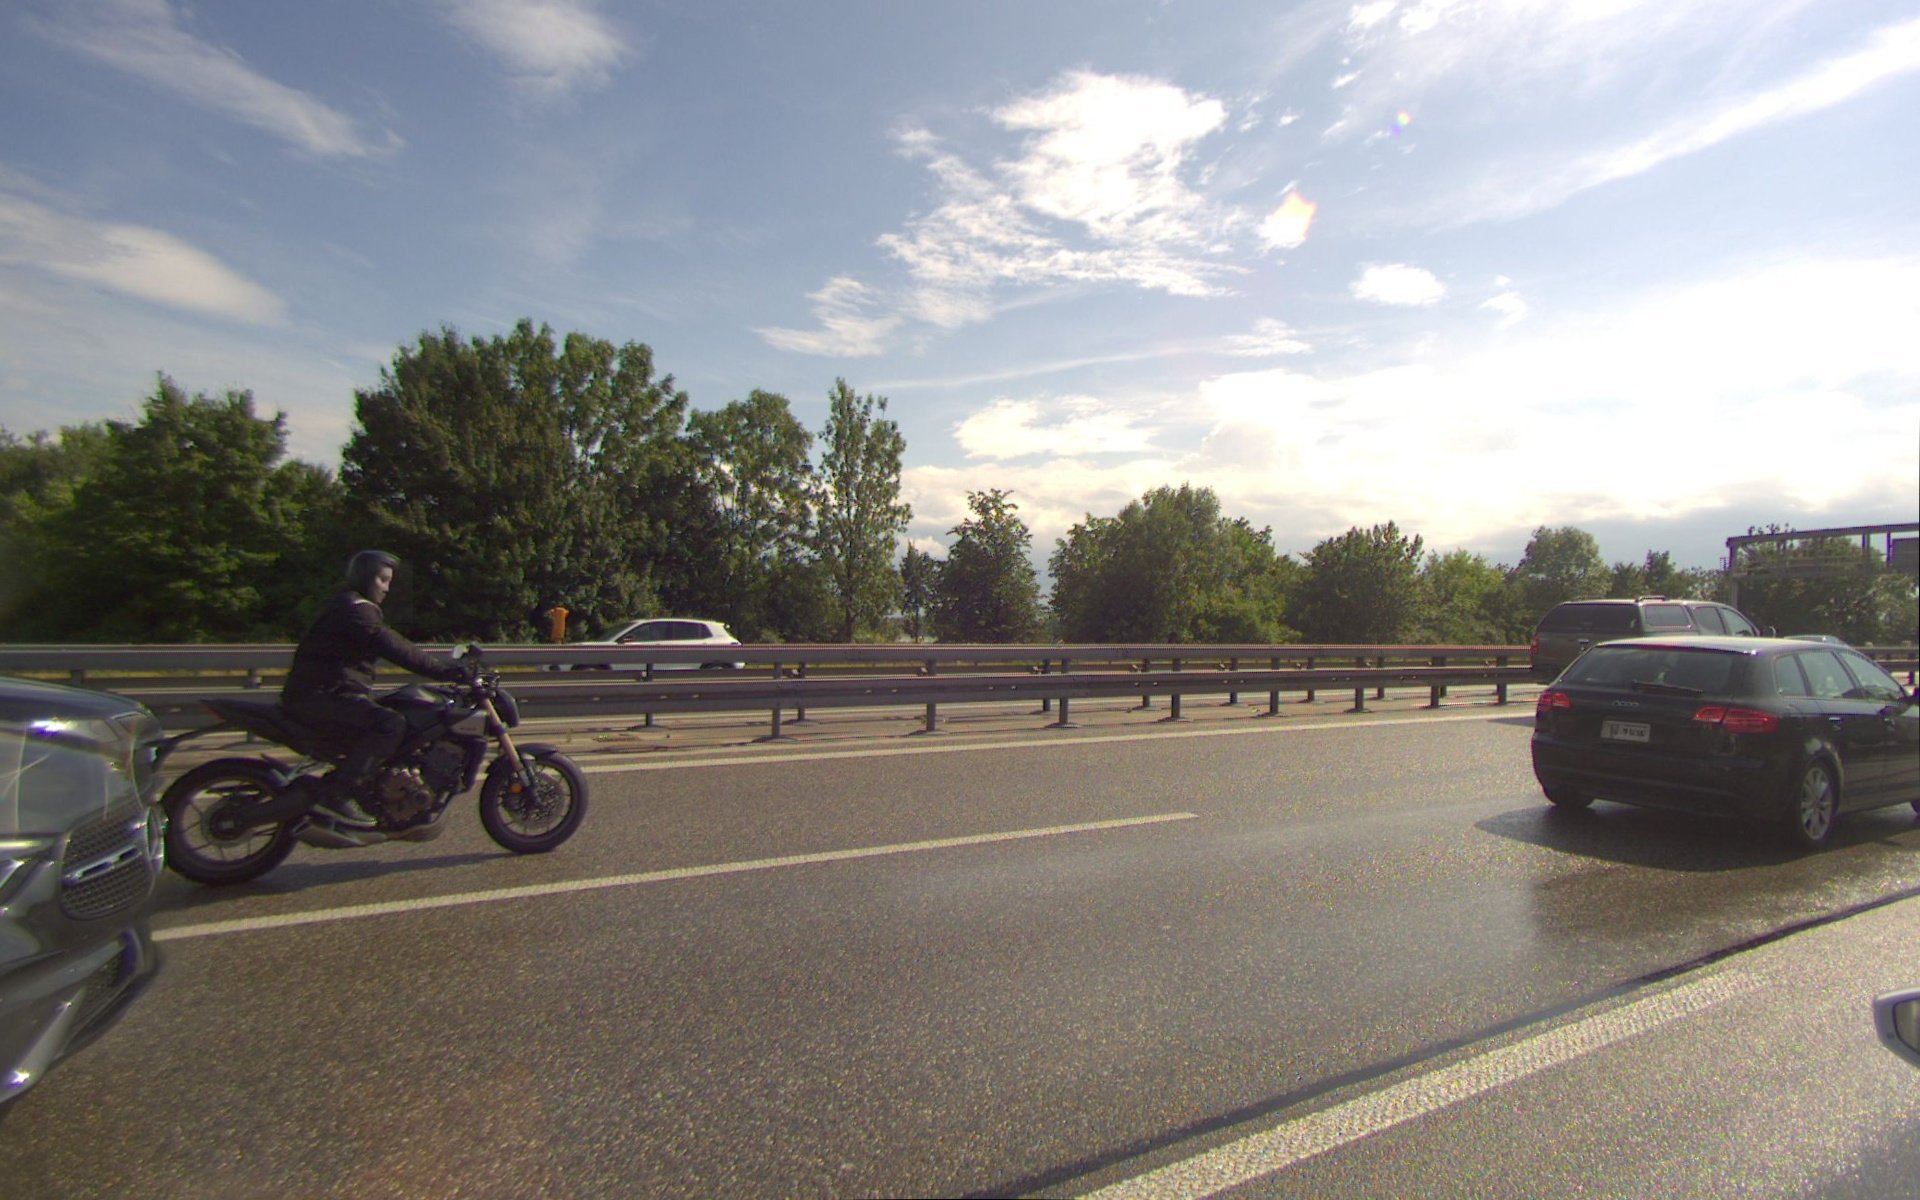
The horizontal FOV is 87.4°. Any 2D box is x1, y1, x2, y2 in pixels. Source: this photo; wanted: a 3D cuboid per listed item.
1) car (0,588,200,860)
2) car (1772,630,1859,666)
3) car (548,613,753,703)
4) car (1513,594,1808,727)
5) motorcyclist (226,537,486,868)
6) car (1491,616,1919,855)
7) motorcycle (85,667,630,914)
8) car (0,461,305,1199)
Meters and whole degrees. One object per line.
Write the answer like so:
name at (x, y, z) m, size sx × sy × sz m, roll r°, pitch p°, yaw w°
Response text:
car at (-6.958, 0.619, 5.384) m, size 4.319 × 1.444 × 1.912 m, roll 2°, pitch -1°, yaw -29°
car at (32.750, 1.817, 38.437) m, size 3.368 × 1.283 × 1.503 m, roll 2°, pitch 0°, yaw -31°
car at (-6.401, 1.155, 20.853) m, size 3.768 × 1.672 × 1.724 m, roll 1°, pitch 0°, yaw -32°
car at (11.374, 0.904, 16.184) m, size 5.354 × 1.869 × 1.798 m, roll 1°, pitch 0°, yaw -30°
motorcyclist at (-3.167, 0.493, 5.339) m, size 1.080 × 1.558 × 0.792 m, roll 1°, pitch 0°, yaw -31°
car at (6.275, 0.898, 8.010) m, size 4.006 × 1.452 × 1.742 m, roll 1°, pitch 0°, yaw -30°
motorcycle at (-3.074, 0.913, 5.414) m, size 2.361 × 1.041 × 0.687 m, roll 1°, pitch 0°, yaw -31°
car at (-4.066, 0.520, 1.912) m, size 4.572 × 1.701 × 1.867 m, roll 1°, pitch 0°, yaw -30°
